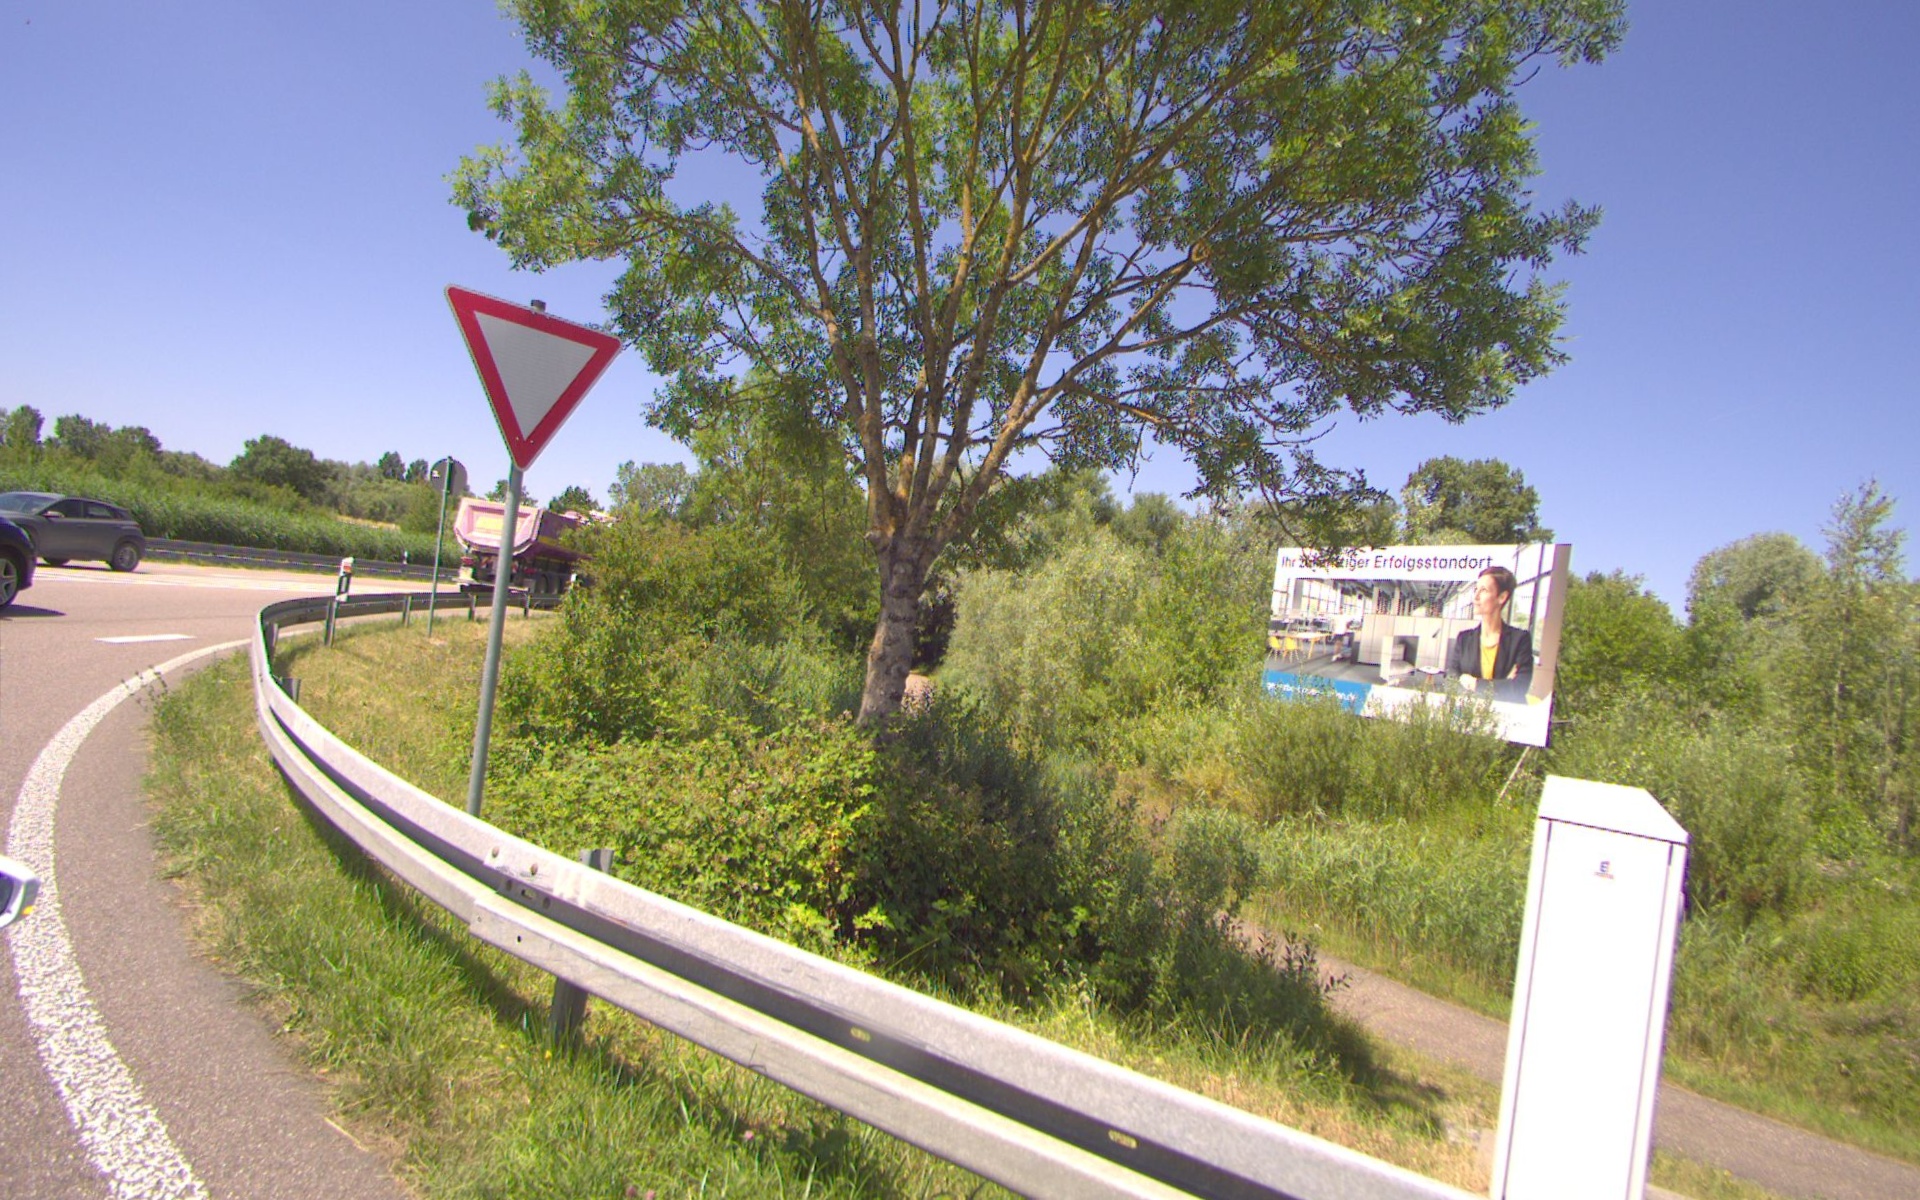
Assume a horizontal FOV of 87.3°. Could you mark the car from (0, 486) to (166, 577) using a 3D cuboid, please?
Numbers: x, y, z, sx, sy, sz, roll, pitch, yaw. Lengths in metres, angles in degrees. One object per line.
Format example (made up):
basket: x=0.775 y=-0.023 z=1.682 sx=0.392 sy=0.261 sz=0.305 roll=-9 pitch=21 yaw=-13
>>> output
car: x=-19.750 y=-1.505 z=21.583 sx=1.898 sy=1.651 sz=4.238 roll=7 pitch=0 yaw=0

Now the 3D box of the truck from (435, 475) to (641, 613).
truck: x=-14.724 y=-1.684 z=36.558 sx=2.792 sy=3.868 sz=11.877 roll=7 pitch=0 yaw=-4

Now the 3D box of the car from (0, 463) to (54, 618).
car: x=-11.932 y=-0.835 z=9.967 sx=1.900 sy=1.788 sz=4.594 roll=8 pitch=-1 yaw=-6
